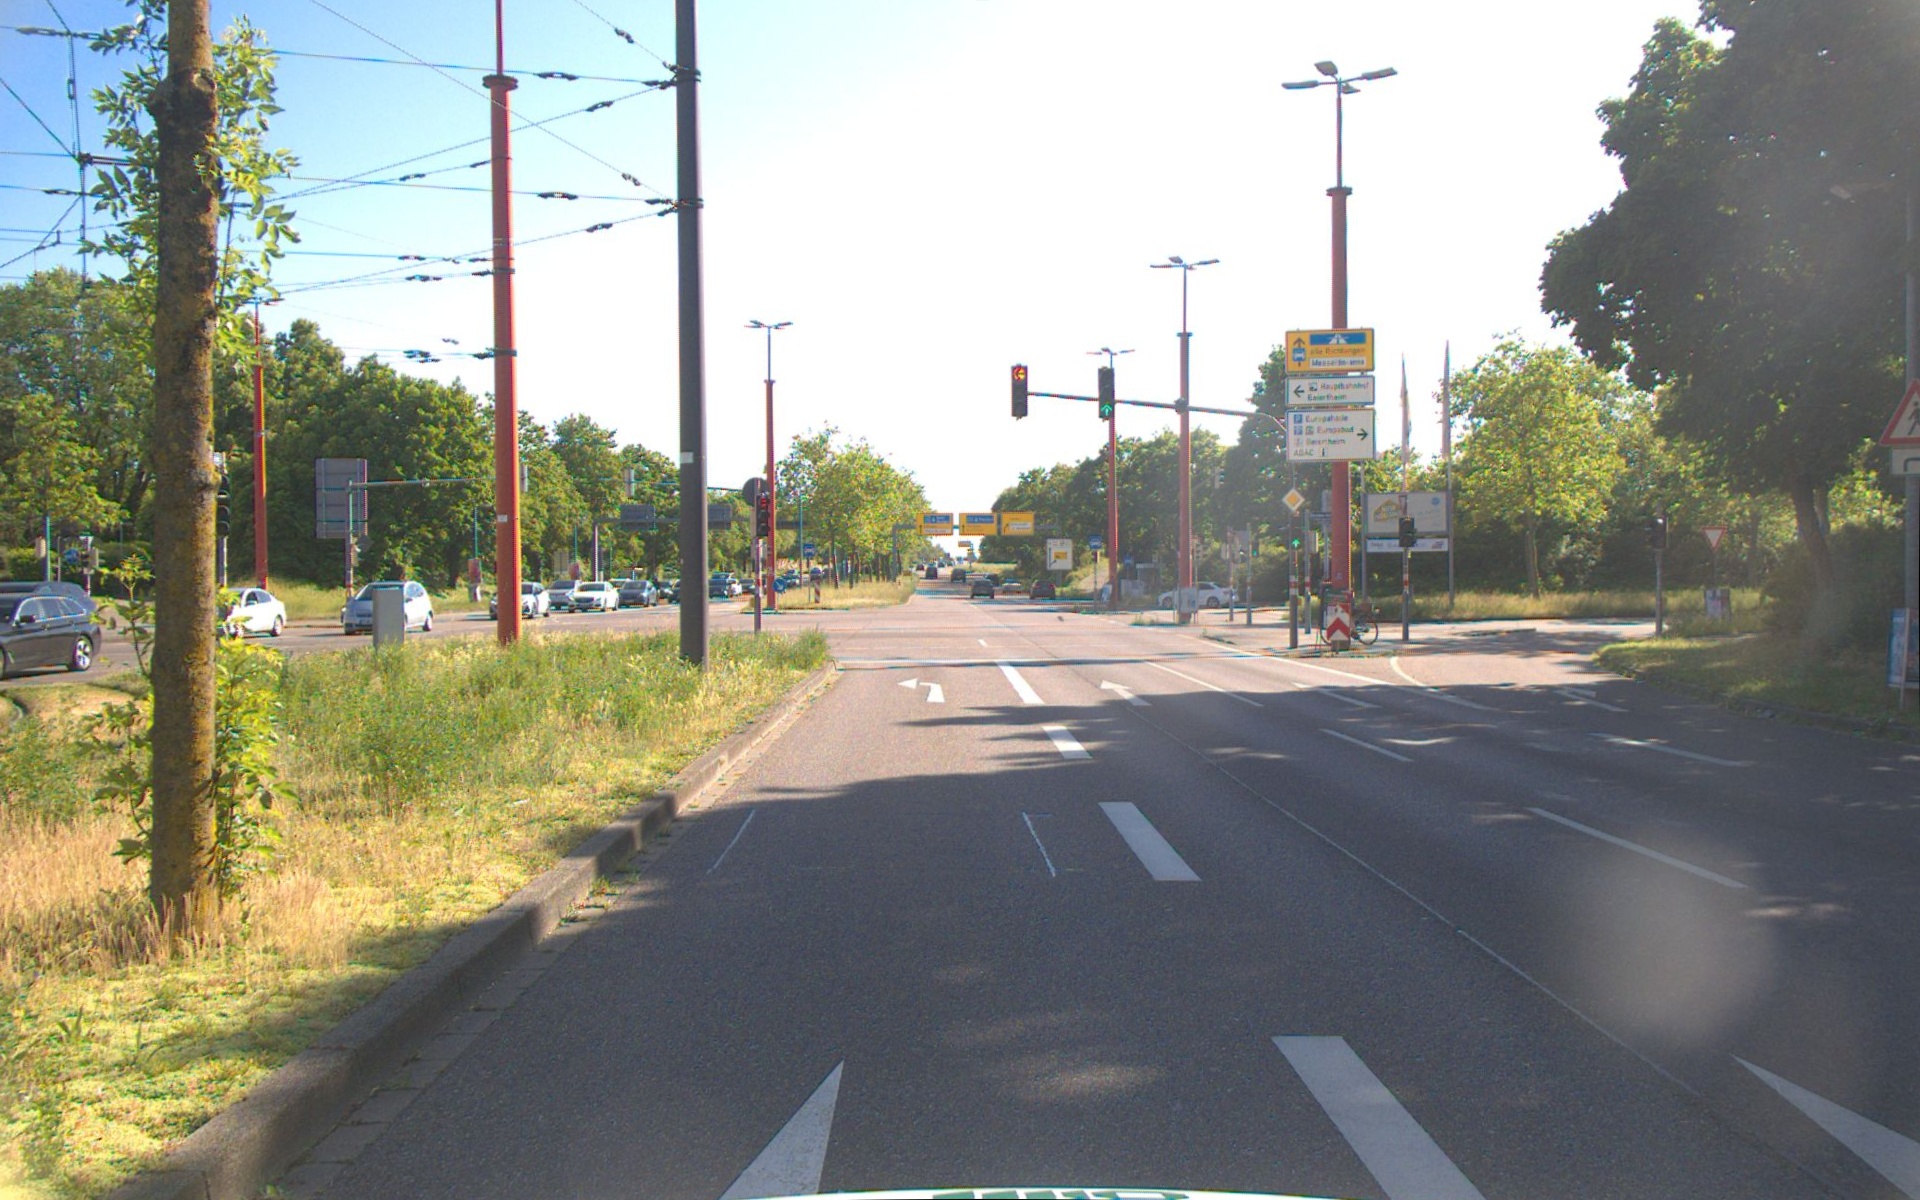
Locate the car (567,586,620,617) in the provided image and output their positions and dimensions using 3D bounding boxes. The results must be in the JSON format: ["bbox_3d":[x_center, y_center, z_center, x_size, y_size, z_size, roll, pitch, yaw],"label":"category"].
[{"bbox_3d":[-18.005,0.042,81.392,1.669,1.447,4.642,-1,0,-1],"label":"car"}]

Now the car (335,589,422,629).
[{"bbox_3d":[-21.613,0.314,61.647,1.954,1.398,4.397,1,0,-4],"label":"car"}]

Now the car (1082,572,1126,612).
[{"bbox_3d":[7.129,-0.397,81.398,1.951,1.920,4.003,0,1,8],"label":"car"}]

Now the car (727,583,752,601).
[{"bbox_3d":[-18.252,-0.672,136.992,1.572,1.485,3.950,0,1,-1],"label":"car"}]

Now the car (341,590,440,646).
[{"bbox_3d":[-17.457,0.517,50.841,1.727,1.636,3.757,-1,0,0],"label":"car"}]

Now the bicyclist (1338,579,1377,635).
[{"bbox_3d":[9.820,0.180,40.878,0.726,1.365,0.706,1,0,-11],"label":"bicyclist"}]

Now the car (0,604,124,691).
[{"bbox_3d":[-17.346,0.816,29.844,1.952,1.434,4.990,1,0,0],"label":"car"}]

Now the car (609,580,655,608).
[{"bbox_3d":[-19.625,-0.359,99.227,1.800,1.629,4.438,-1,0,1],"label":"car"}]

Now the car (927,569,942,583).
[{"bbox_3d":[-3.825,-3.556,248.795,1.954,2.049,3.997,1,0,-4],"label":"car"}]

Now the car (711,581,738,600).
[{"bbox_3d":[-18.140,-0.750,127.544,1.517,1.401,4.261,0,1,-2],"label":"car"}]

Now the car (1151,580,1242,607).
[{"bbox_3d":[12.449,-0.353,87.021,4.293,1.395,2.058,0,1,28],"label":"car"}]

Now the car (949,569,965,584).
[{"bbox_3d":[-0.390,-3.195,225.950,2.111,2.049,3.999,0,1,-1],"label":"car"}]

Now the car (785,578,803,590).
[{"bbox_3d":[-19.547,-1.884,194.861,1.964,1.330,3.997,-1,1,-4],"label":"car"}]

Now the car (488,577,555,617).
[{"bbox_3d":[-17.826,-0.135,67.384,1.556,1.498,4.183,-2,1,0],"label":"car"}]

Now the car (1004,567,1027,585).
[{"bbox_3d":[5.211,-2.255,155.053,1.953,1.567,3.999,1,0,-1],"label":"car"}]

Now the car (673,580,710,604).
[{"bbox_3d":[-17.713,-0.538,109.313,1.838,1.511,4.603,1,0,-3],"label":"car"}]

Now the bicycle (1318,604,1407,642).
[{"bbox_3d":[9.945,0.566,40.851,2.124,0.894,0.558,1,0,-13],"label":"bicycle"}]

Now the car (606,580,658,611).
[{"bbox_3d":[-18.197,-0.269,92.012,1.952,1.622,4.464,-1,1,1],"label":"car"}]

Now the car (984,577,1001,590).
[{"bbox_3d":[4.022,-2.011,205.626,1.953,1.567,3.999,0,1,-1],"label":"car"}]

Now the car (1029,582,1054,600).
[{"bbox_3d":[6.170,-0.690,125.464,1.703,1.365,3.081,0,1,-1],"label":"car"}]

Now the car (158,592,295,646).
[{"bbox_3d":[-21.174,0.503,47.974,1.953,1.457,4.692,-1,0,-2],"label":"car"}]

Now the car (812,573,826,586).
[{"bbox_3d":[-19.750,-2.882,232.092,1.592,1.769,4.000,0,1,-1],"label":"car"}]

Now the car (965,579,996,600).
[{"bbox_3d":[1.554,-0.820,126.798,1.955,1.523,3.996,0,1,-5],"label":"car"}]

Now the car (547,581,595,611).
[{"bbox_3d":[-21.393,-0.243,90.996,1.838,1.603,3.998,1,0,-3],"label":"car"}]
